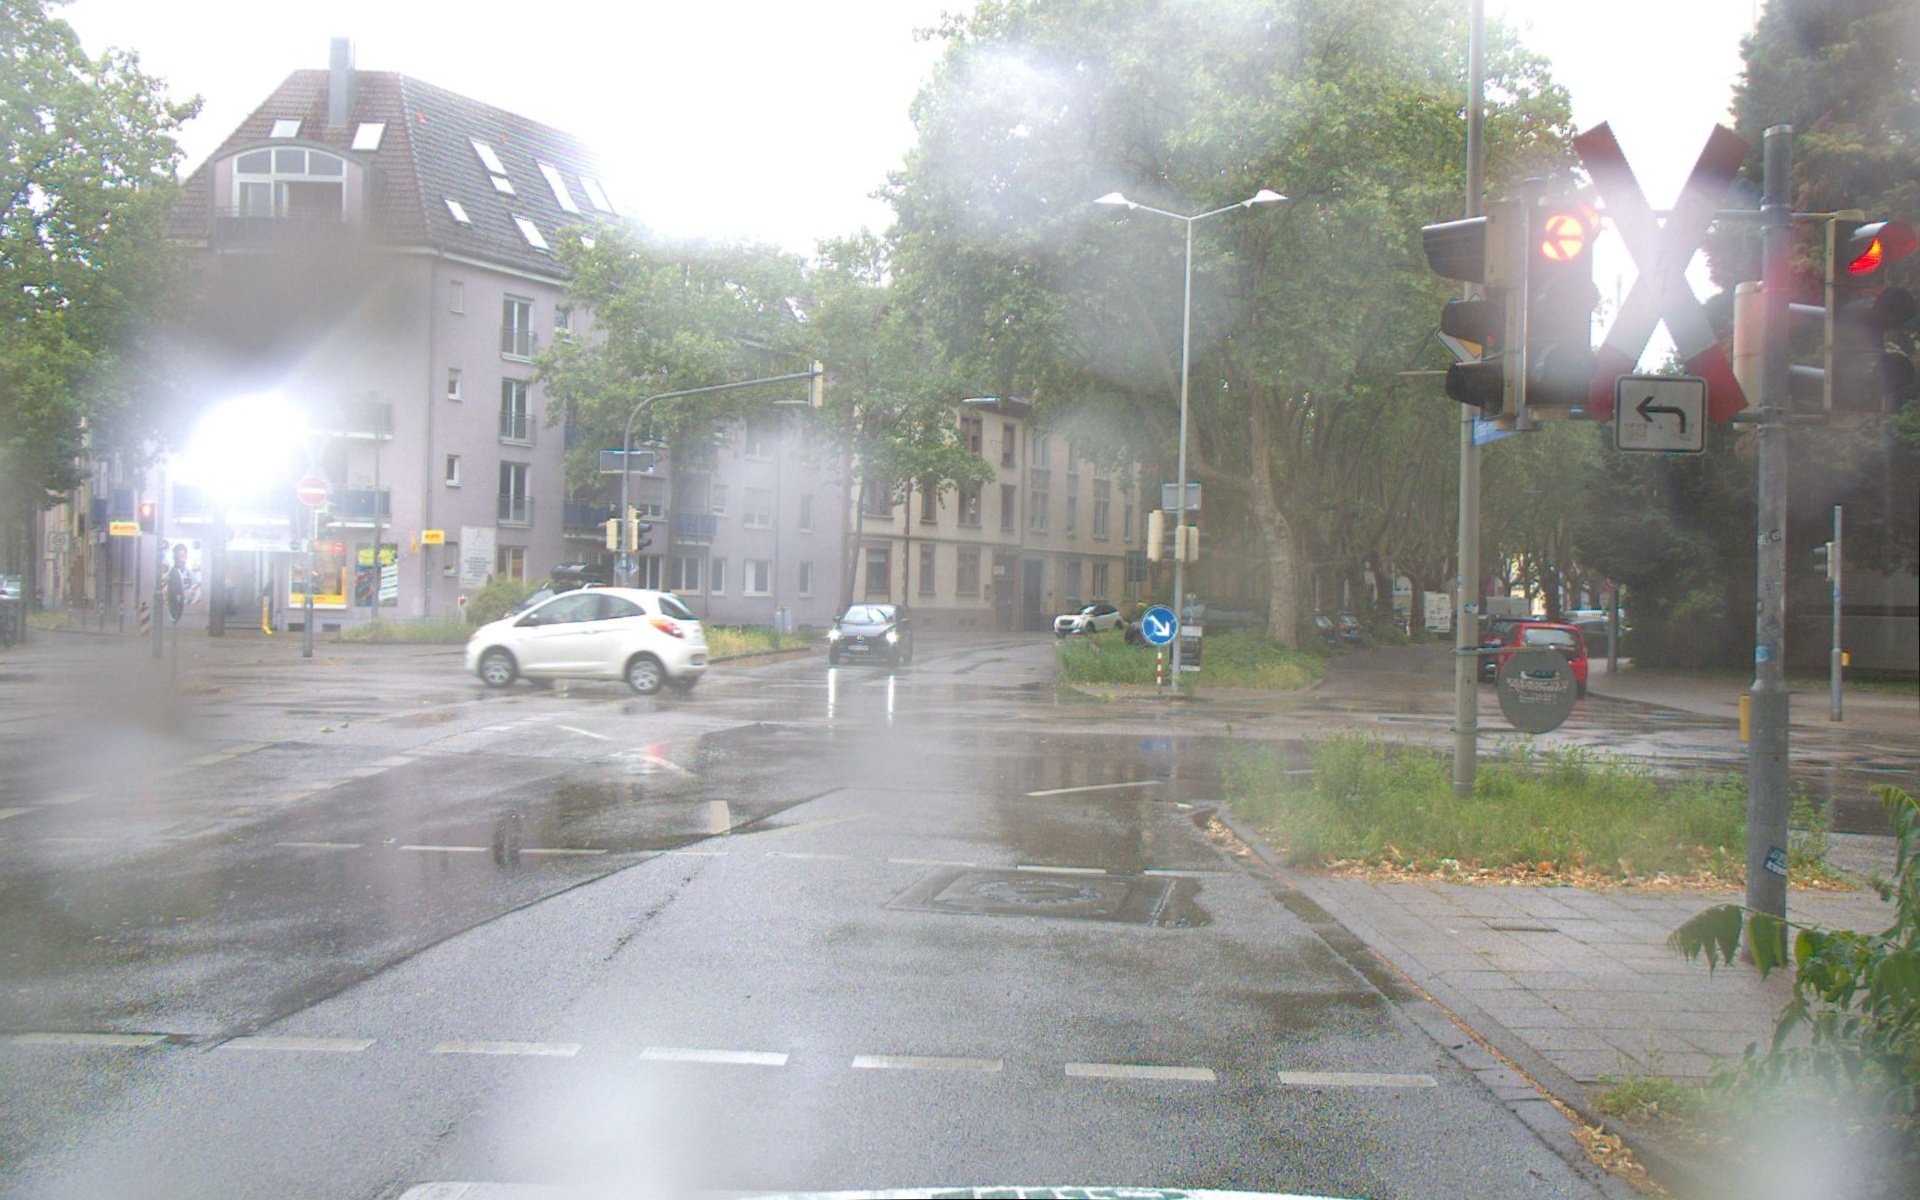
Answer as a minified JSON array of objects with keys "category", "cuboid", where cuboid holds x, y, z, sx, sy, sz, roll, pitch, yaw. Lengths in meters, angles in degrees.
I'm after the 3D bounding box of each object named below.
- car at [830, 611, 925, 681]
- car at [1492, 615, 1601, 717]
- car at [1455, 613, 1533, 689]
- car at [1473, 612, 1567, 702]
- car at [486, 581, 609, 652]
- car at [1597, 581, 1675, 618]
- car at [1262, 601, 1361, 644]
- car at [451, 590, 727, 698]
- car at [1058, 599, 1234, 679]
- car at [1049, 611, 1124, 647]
[{"category":"car","cuboid":[-1.974,1.094,40.606,1.568,1.579,3.563,0,0,10]},{"category":"car","cuboid":[12.909,1.396,36.615,1.951,2.049,4.003,0,0,15]},{"category":"car","cuboid":[15.455,1.447,48.068,1.951,2.049,4.003,0,0,15]},{"category":"car","cuboid":[13.852,1.360,41.072,1.951,2.049,4.003,0,0,15]},{"category":"car","cuboid":[-9.537,0.354,38.477,1.688,1.579,3.562,0,0,5]},{"category":"car","cuboid":[37.787,-0.034,92.527,3.903,2.049,1.708,0,0,19]},{"category":"car","cuboid":[13.962,0.889,65.645,3.537,1.646,1.679,0,0,28]},{"category":"car","cuboid":[-5.438,0.625,24.431,3.563,1.512,1.726,0,0,11]},{"category":"car","cuboid":[3.722,0.769,33.042,3.405,1.550,1.521,0,0,8]},{"category":"car","cuboid":[5.983,1.359,77.847,1.648,1.579,4.183,0,0,35]}]
